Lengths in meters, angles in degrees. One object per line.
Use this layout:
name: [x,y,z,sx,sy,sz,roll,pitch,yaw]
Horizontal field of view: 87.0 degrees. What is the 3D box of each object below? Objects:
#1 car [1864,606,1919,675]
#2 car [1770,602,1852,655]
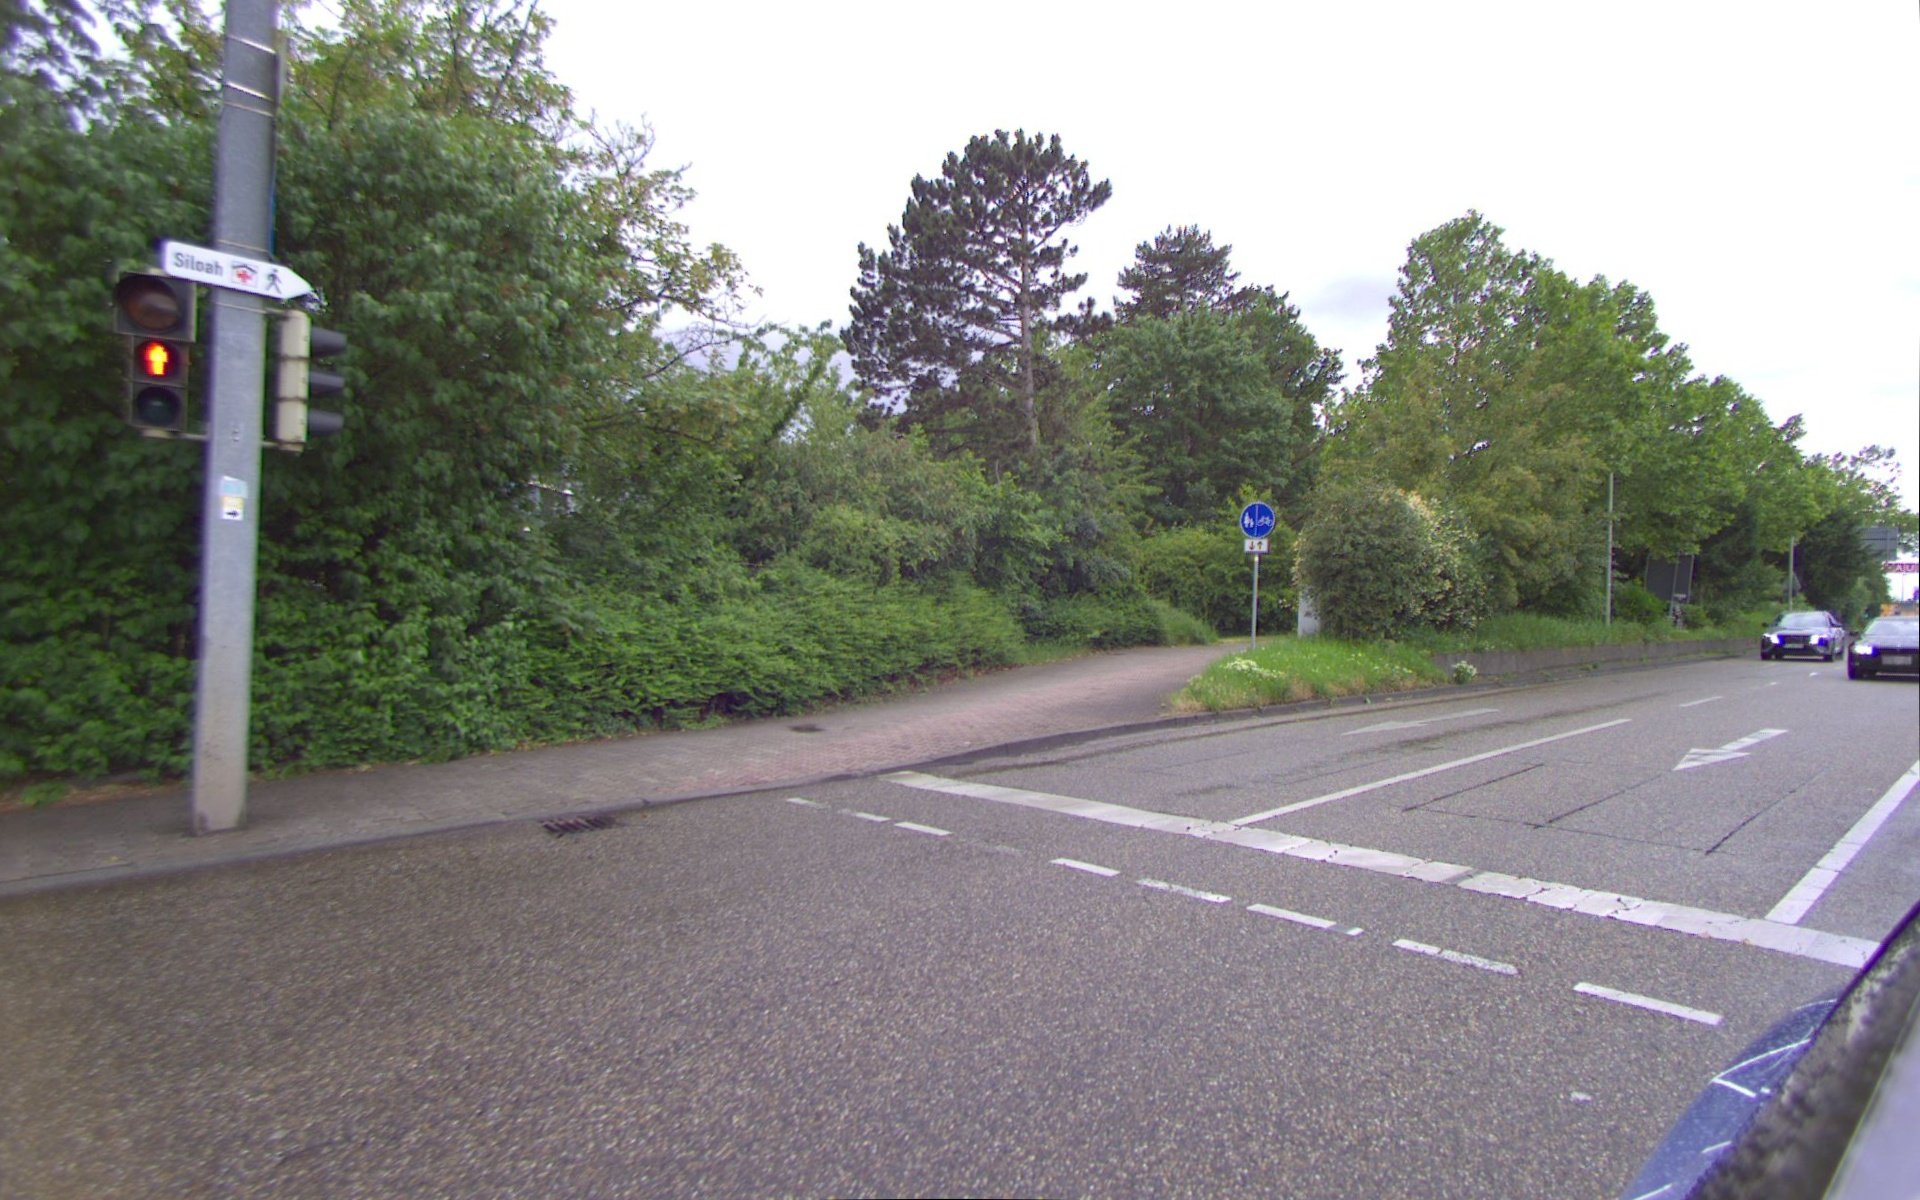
car: [22.587,0.901,23.640,4.640,1.478,1.793,0,0,-43]
car: [28.427,0.913,33.773,3.778,1.643,1.702,0,-1,-44]
